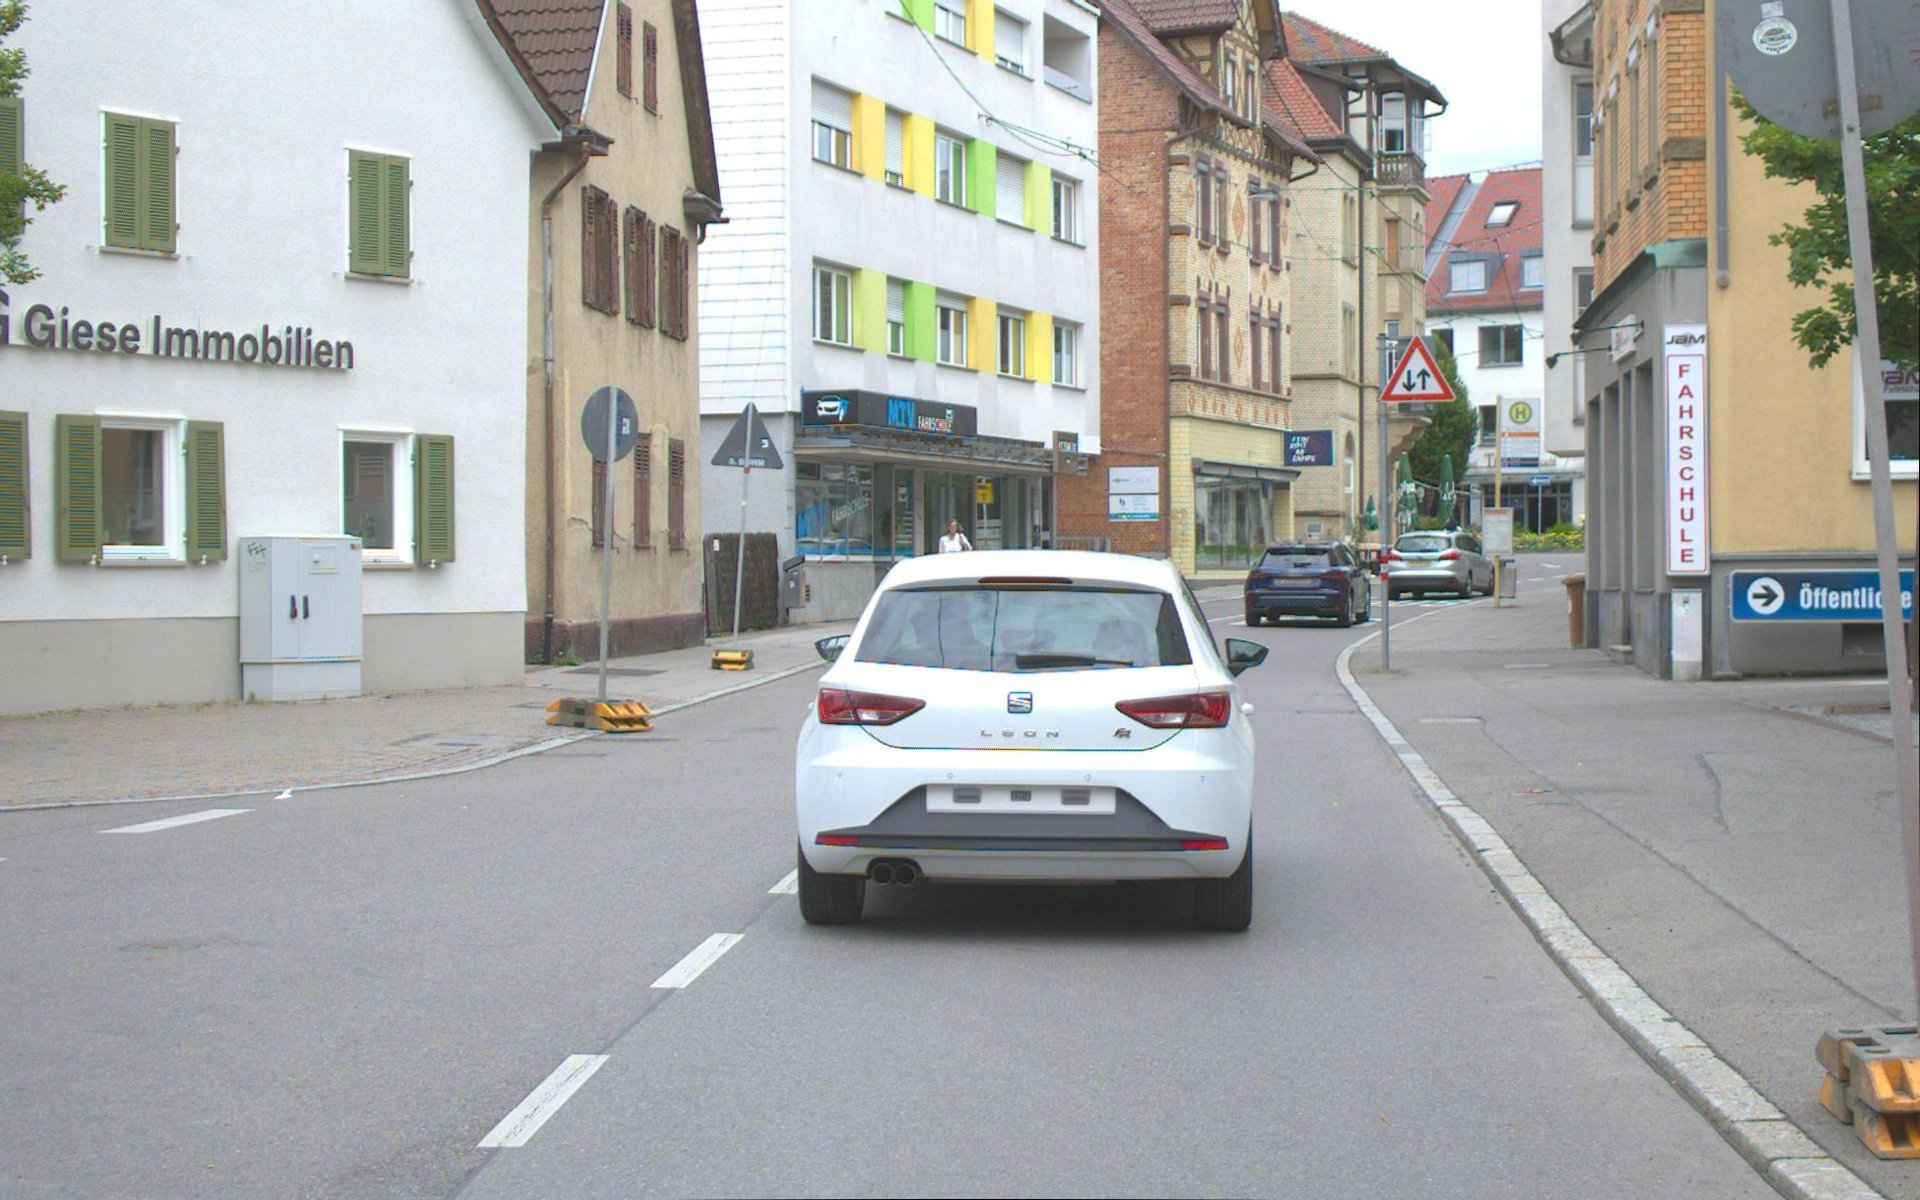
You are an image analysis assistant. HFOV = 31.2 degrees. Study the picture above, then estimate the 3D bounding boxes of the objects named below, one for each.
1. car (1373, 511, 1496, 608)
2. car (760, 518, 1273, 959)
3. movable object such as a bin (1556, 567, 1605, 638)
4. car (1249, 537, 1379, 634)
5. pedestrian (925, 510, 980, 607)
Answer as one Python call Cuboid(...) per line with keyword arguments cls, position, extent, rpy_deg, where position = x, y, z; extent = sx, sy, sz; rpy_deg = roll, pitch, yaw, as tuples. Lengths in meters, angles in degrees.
Cuboid(cls="car", position=(10.156, -0.891, 73.424), extent=(1.995, 2.007, 3.997), rpy_deg=(0, 1, 17))
Cuboid(cls="car", position=(0.370, 0.446, 14.229), extent=(1.812, 1.475, 3.870), rpy_deg=(1, 2, 5))
Cuboid(cls="movable object such as a bin", position=(8.100, 0.027, 44.846), extent=(0.620, 0.918, 0.581), rpy_deg=(0, 1, 11))
Cuboid(cls="car", position=(5.952, -0.266, 57.527), extent=(1.812, 1.475, 3.869), rpy_deg=(0, 2, 11))
Cuboid(cls="pedestrian", position=(-0.129, -0.725, 59.243), extent=(0.892, 1.659, 0.861), rpy_deg=(0, 1, 3))
